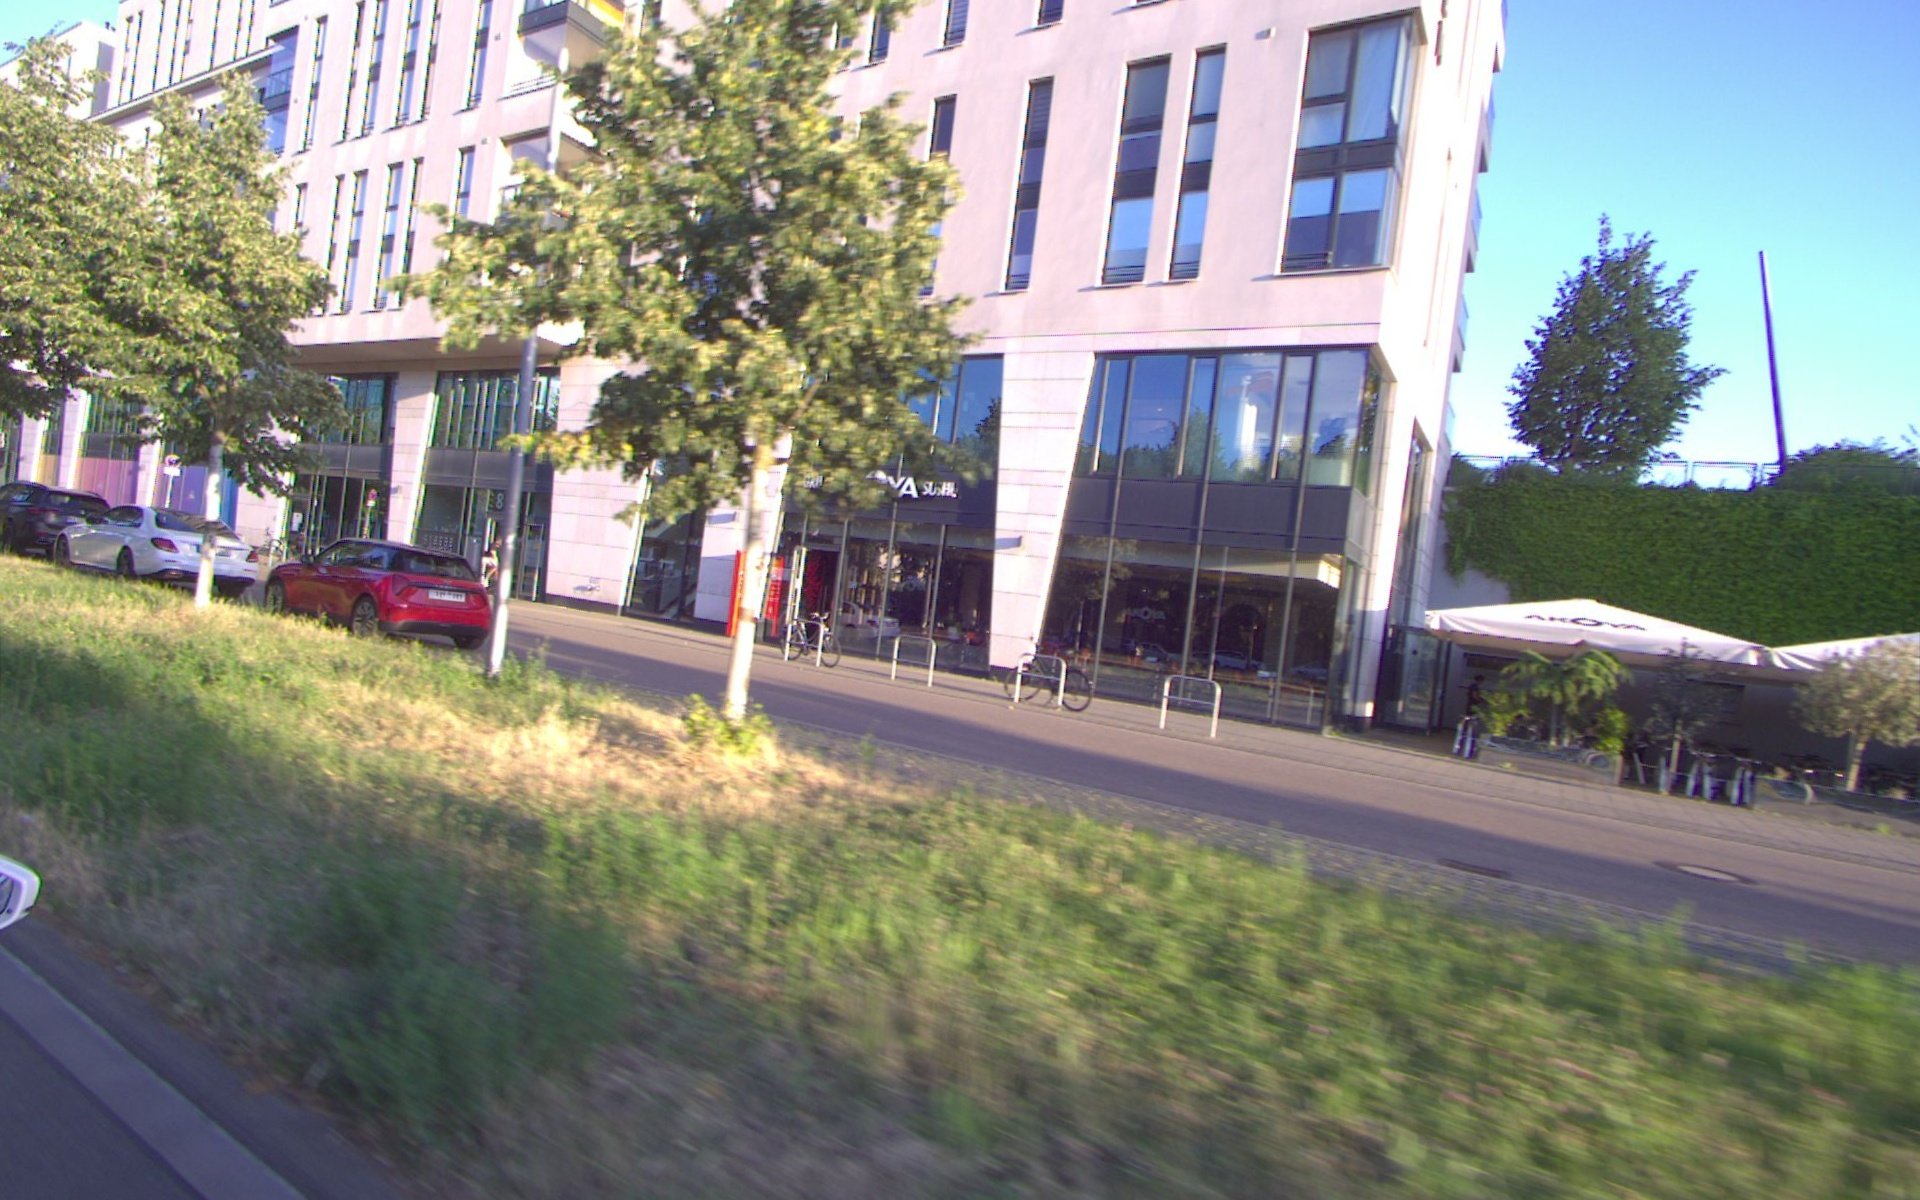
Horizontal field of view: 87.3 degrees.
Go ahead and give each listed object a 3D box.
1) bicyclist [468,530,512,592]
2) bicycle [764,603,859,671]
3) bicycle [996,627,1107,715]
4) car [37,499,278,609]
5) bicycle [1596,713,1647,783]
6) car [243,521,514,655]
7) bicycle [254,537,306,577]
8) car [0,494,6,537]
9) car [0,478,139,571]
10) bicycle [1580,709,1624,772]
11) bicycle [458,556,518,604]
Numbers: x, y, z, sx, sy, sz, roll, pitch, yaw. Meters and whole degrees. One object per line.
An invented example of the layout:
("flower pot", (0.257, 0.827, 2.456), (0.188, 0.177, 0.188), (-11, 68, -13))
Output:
("bicyclist", (-13.099, -1.094, 28.042), (1.003, 1.588, 0.544), (7, 0, 35))
("bicycle", (-2.971, 0.728, 20.043), (1.837, 1.143, 0.547), (7, 2, 30))
("bicycle", (1.558, 1.205, 17.168), (1.642, 1.246, 0.618), (8, 1, 30))
("car", (-15.449, -0.907, 19.299), (4.926, 1.519, 1.924), (7, -1, 31))
("bicycle", (12.361, 2.737, 18.827), (0.491, 1.121, 1.798), (7, -1, 27))
("car", (-8.925, -0.202, 15.386), (3.893, 1.519, 1.811), (7, -1, 31))
("bicycle", (-21.248, -1.356, 31.430), (1.584, 1.072, 0.534), (7, 0, 26))
("car", (-27.579, -2.333, 27.027), (4.162, 1.518, 1.727), (7, -2, 32))
("car", (-21.268, -1.824, 23.221), (4.740, 1.641, 1.958), (7, -3, 31))
("bicycle", (13.172, 2.853, 20.674), (0.491, 1.121, 1.798), (7, -1, 27))
("bicycle", (-13.157, -0.563, 28.034), (1.882, 1.132, 0.543), (7, 0, 35))
